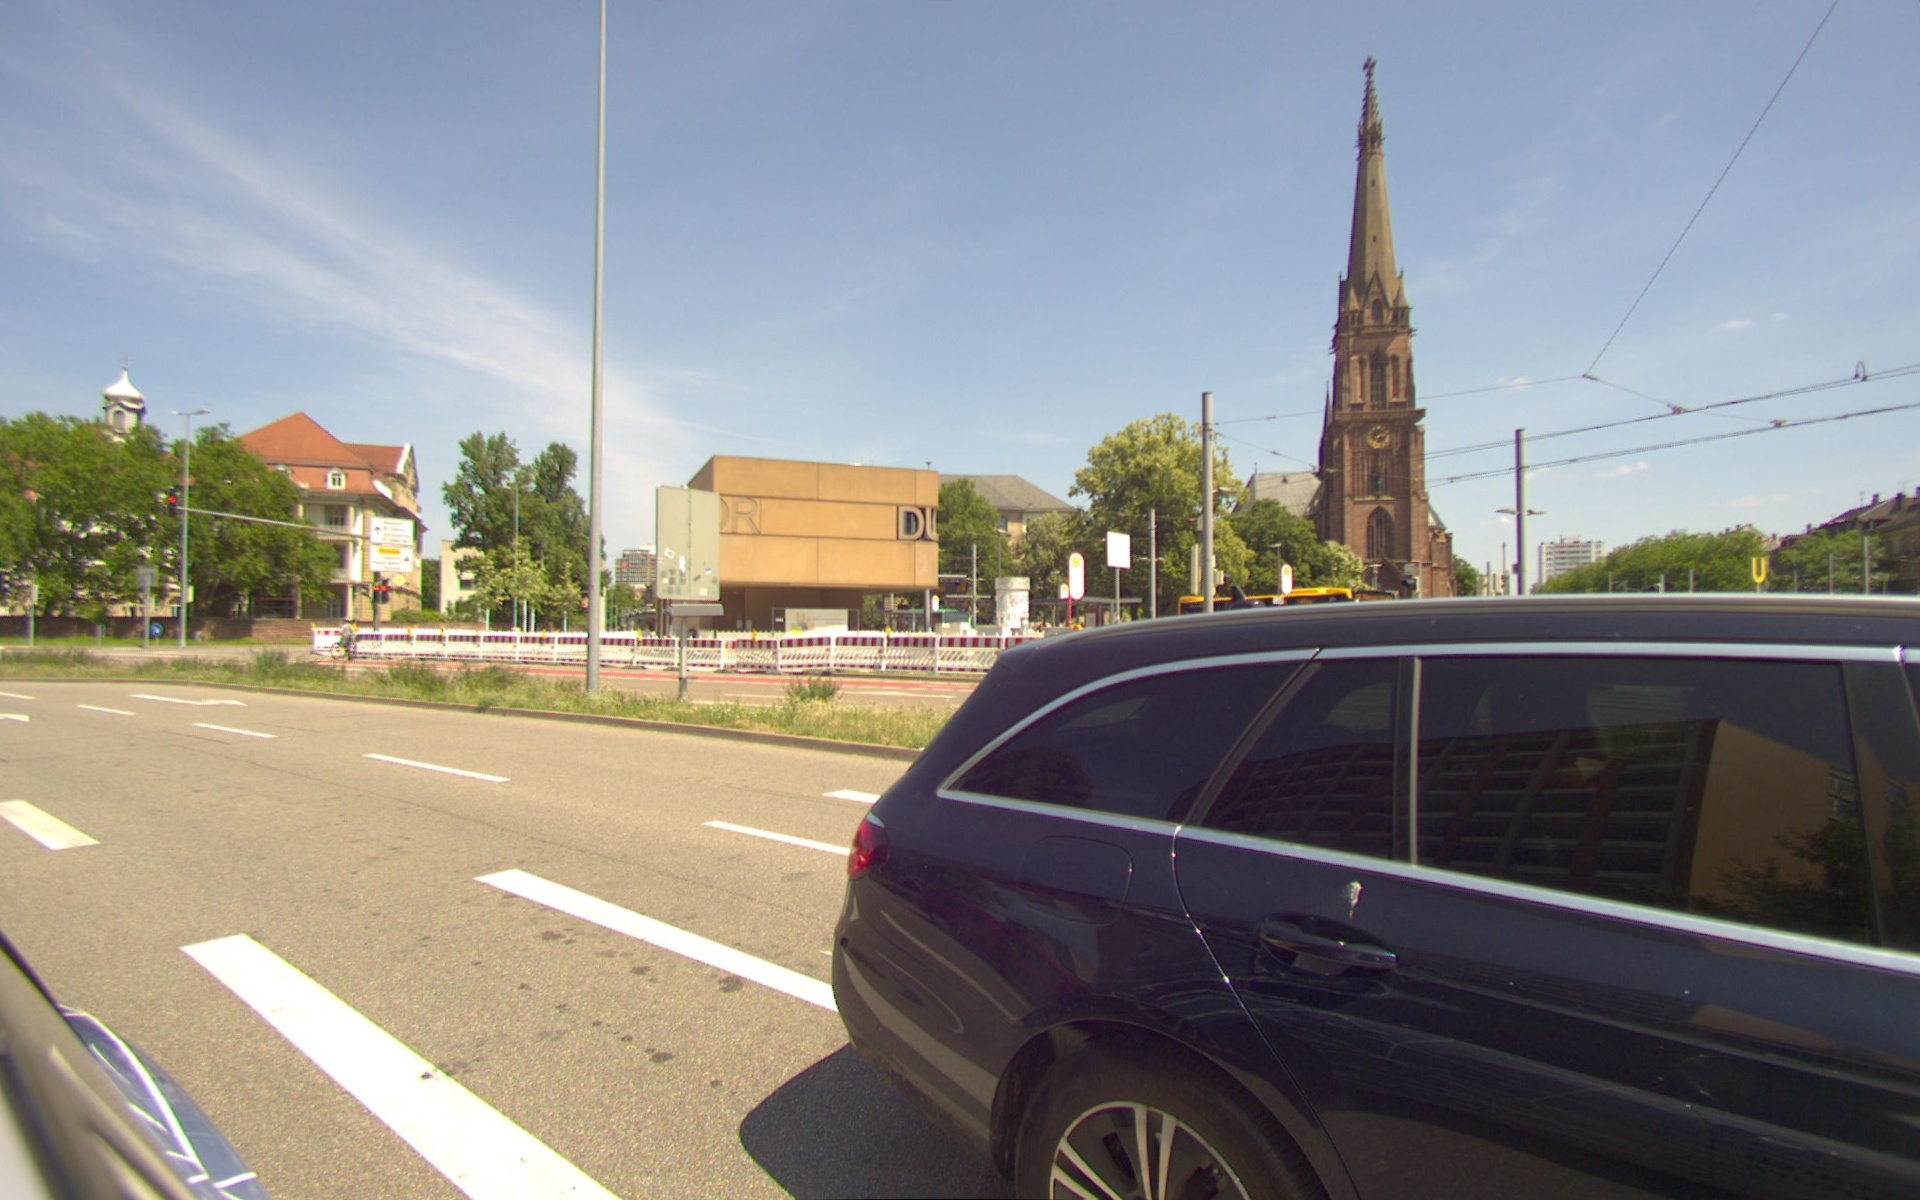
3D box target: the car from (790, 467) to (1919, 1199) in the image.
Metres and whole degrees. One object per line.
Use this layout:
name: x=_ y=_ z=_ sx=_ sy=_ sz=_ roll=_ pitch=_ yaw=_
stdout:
car: x=1.979 y=0.670 z=1.435 sx=4.803 sy=1.653 sz=1.778 roll=-2 pitch=-1 yaw=42

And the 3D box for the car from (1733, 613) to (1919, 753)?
car: x=11.363 y=0.869 z=10.596 sx=1.968 sy=1.476 sz=4.854 roll=2 pitch=-2 yaw=-39

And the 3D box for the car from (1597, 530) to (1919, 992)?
car: x=4.566 y=0.552 z=3.517 sx=3.736 sy=1.588 sz=1.725 roll=-2 pitch=-3 yaw=42

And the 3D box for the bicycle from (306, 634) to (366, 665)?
bicycle: x=-23.267 y=1.844 z=37.715 sx=2.220 sy=1.080 sz=0.871 roll=-1 pitch=0 yaw=26

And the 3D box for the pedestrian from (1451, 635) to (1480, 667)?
pedestrian: x=21.258 y=2.132 z=42.568 sx=0.518 sy=1.344 sz=1.001 roll=1 pitch=-2 yaw=-17

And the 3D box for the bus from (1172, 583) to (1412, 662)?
bus: x=14.146 y=1.080 z=44.999 sx=2.807 sy=3.039 sz=12.259 roll=1 pitch=-2 yaw=-22

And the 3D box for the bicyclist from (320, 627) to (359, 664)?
bicyclist: x=-23.227 y=1.689 z=37.861 sx=1.432 sy=1.366 sz=0.581 roll=-1 pitch=0 yaw=26
